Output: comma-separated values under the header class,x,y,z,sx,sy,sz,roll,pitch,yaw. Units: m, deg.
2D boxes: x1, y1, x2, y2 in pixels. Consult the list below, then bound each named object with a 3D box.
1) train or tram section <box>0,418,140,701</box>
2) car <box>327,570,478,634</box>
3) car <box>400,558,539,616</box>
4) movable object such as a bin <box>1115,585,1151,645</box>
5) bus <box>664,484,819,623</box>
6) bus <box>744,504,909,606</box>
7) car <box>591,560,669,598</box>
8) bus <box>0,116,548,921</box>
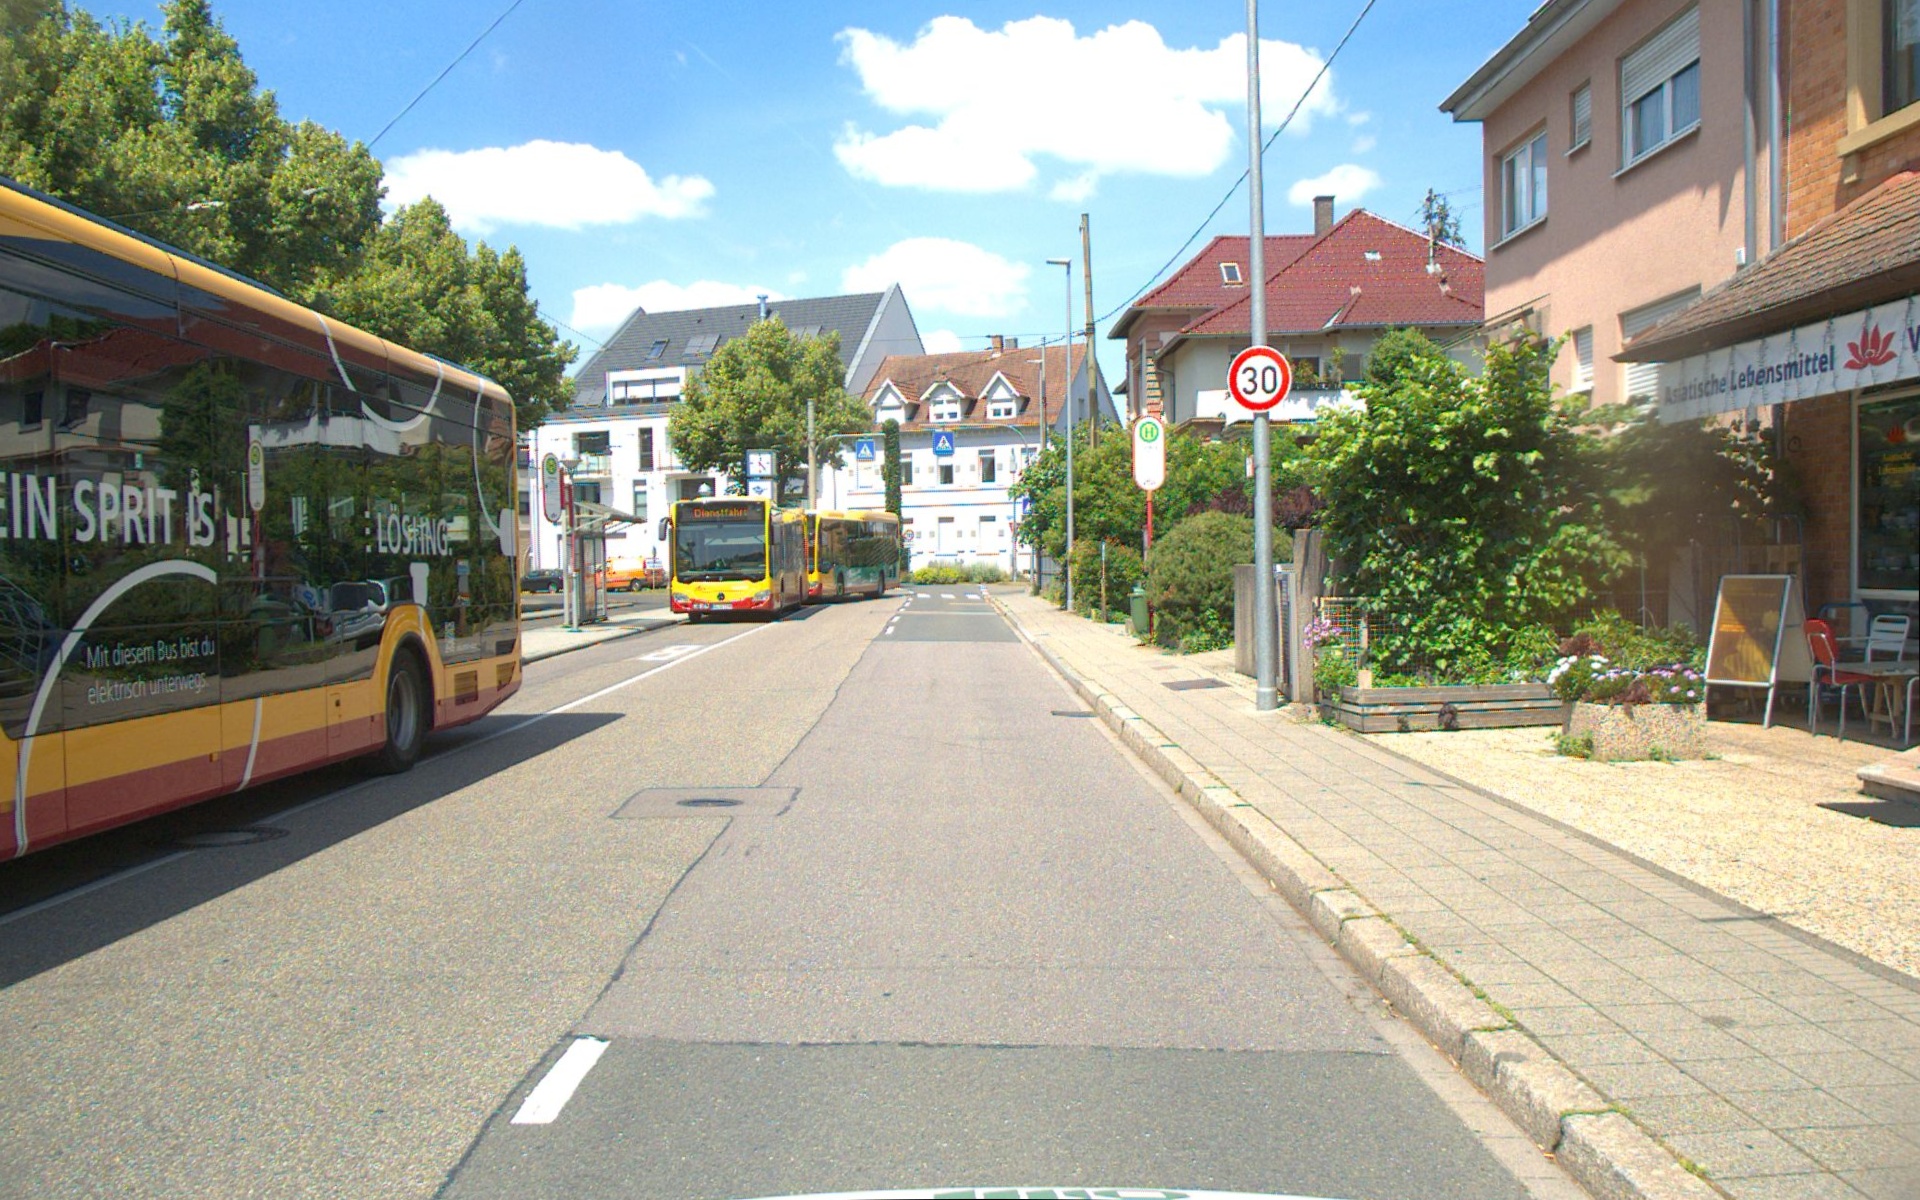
class,x,y,z,sx,sy,sz,roll,pitch,yaw
train or tram section,-14.008,-0.511,18.400,2.903,3.706,13.993,1,1,-1
car,-12.843,0.058,38.121,3.230,1.397,1.460,1,0,-21
car,-12.497,-0.325,42.284,3.217,1.397,1.466,1,0,-9
movable object such as a bin,2.802,0.241,26.800,0.398,0.922,0.729,-4,0,-4
bus,-5.785,-1.186,45.864,2.848,3.304,12.116,1,1,-1
bus,-4.507,-1.640,59.372,2.720,3.264,12.319,1,2,11
car,-18.700,-1.199,93.727,3.911,2.049,1.997,1,0,29
bus,-5.371,-0.333,9.679,2.839,3.304,12.195,1,0,0
